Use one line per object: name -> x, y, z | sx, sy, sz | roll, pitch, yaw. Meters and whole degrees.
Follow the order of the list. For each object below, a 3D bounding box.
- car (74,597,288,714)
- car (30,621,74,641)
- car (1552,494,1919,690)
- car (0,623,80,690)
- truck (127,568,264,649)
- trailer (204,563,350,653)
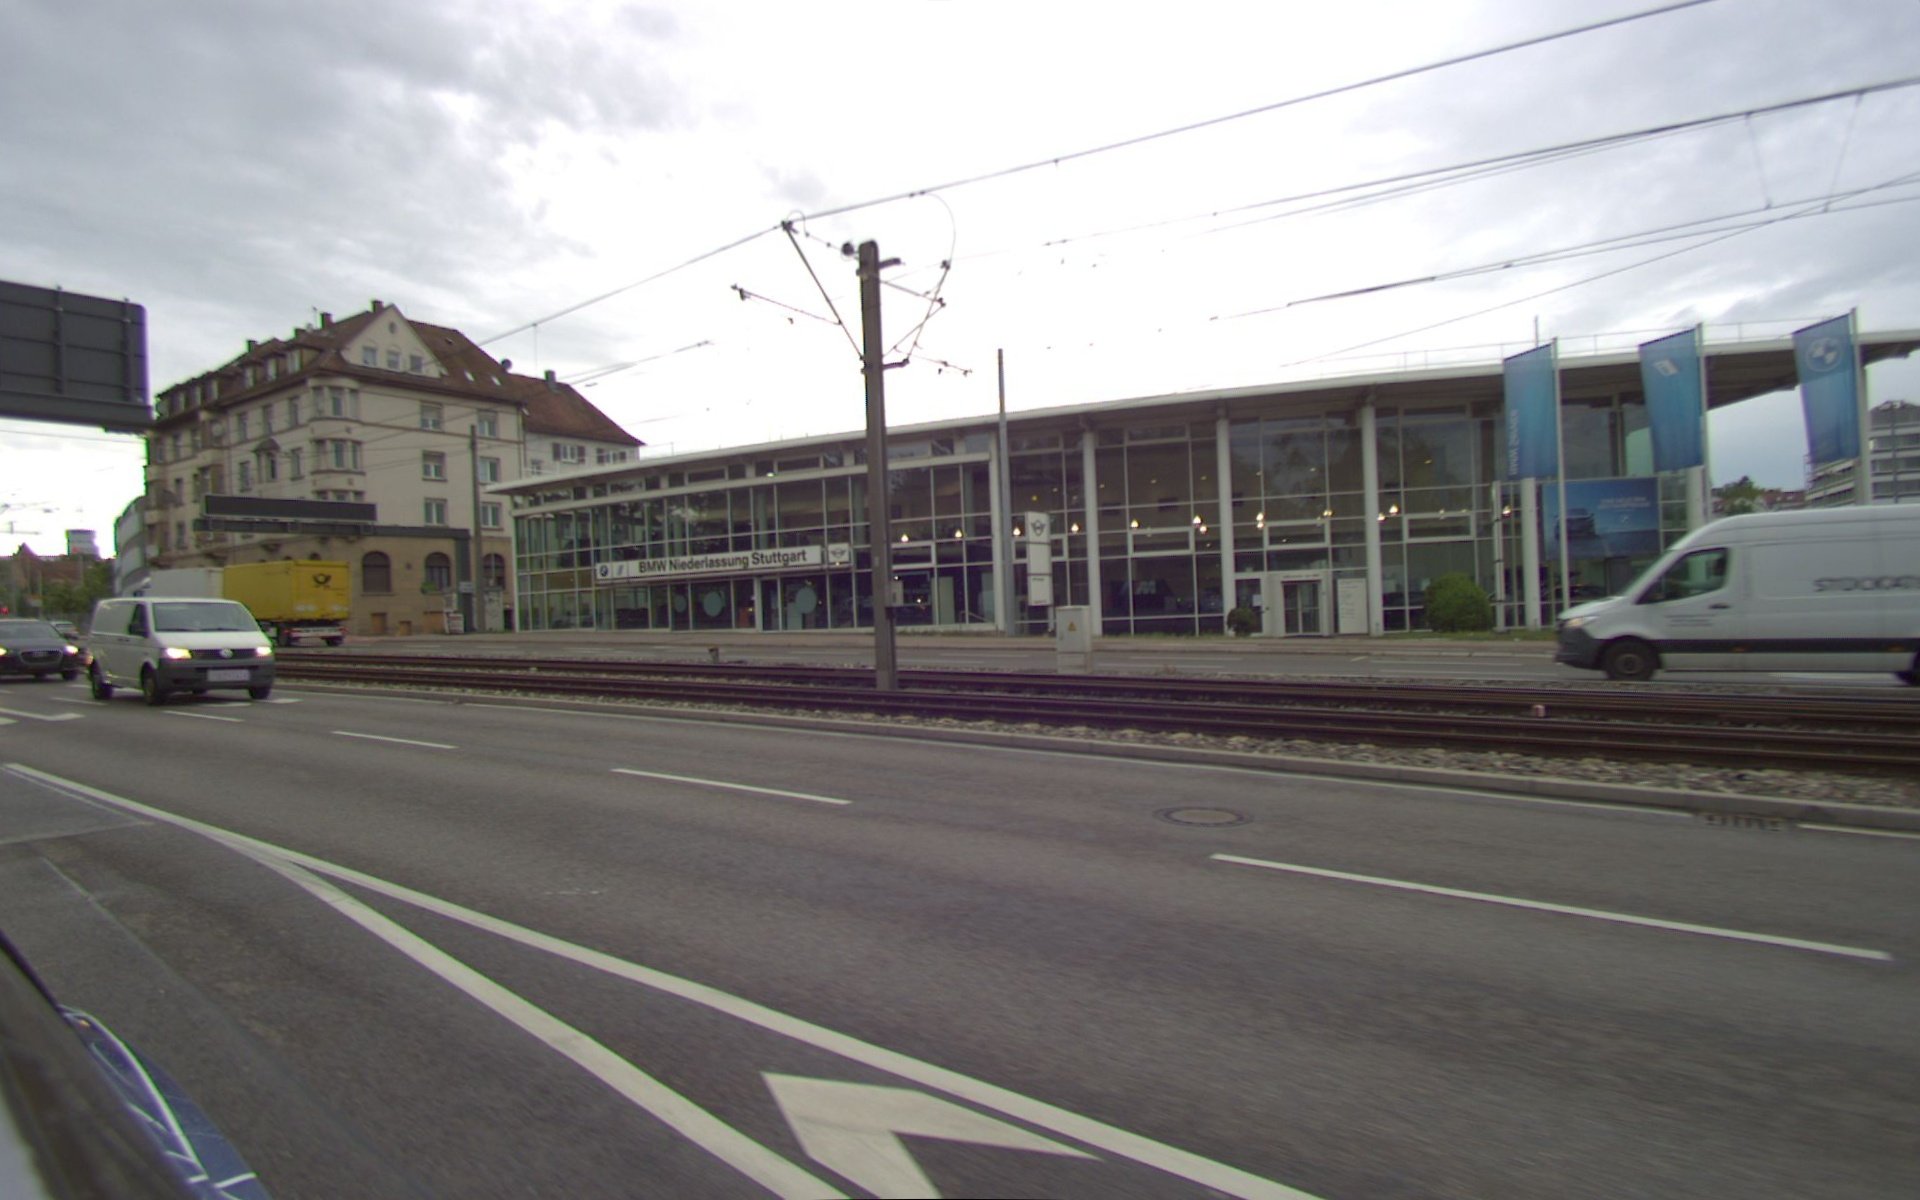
car -> -14.932, 0.999, 19.319 | 4.706, 1.973, 1.893 | -2, -1, 35
car -> -69.751, 2.393, 77.728 | 3.841, 1.415, 1.666 | -2, -1, 34
car -> 12.374, -0.100, 14.943 | 6.147, 2.618, 2.035 | -1, 0, 33
car -> -24.278, 1.418, 25.934 | 3.886, 1.585, 1.690 | -2, -1, 34
truck -> -41.450, 0.517, 54.709 | 10.113, 4.082, 2.661 | -1, -1, 33
trailer -> -33.478, 0.447, 49.467 | 9.056, 4.082, 2.662 | -1, -1, 33
